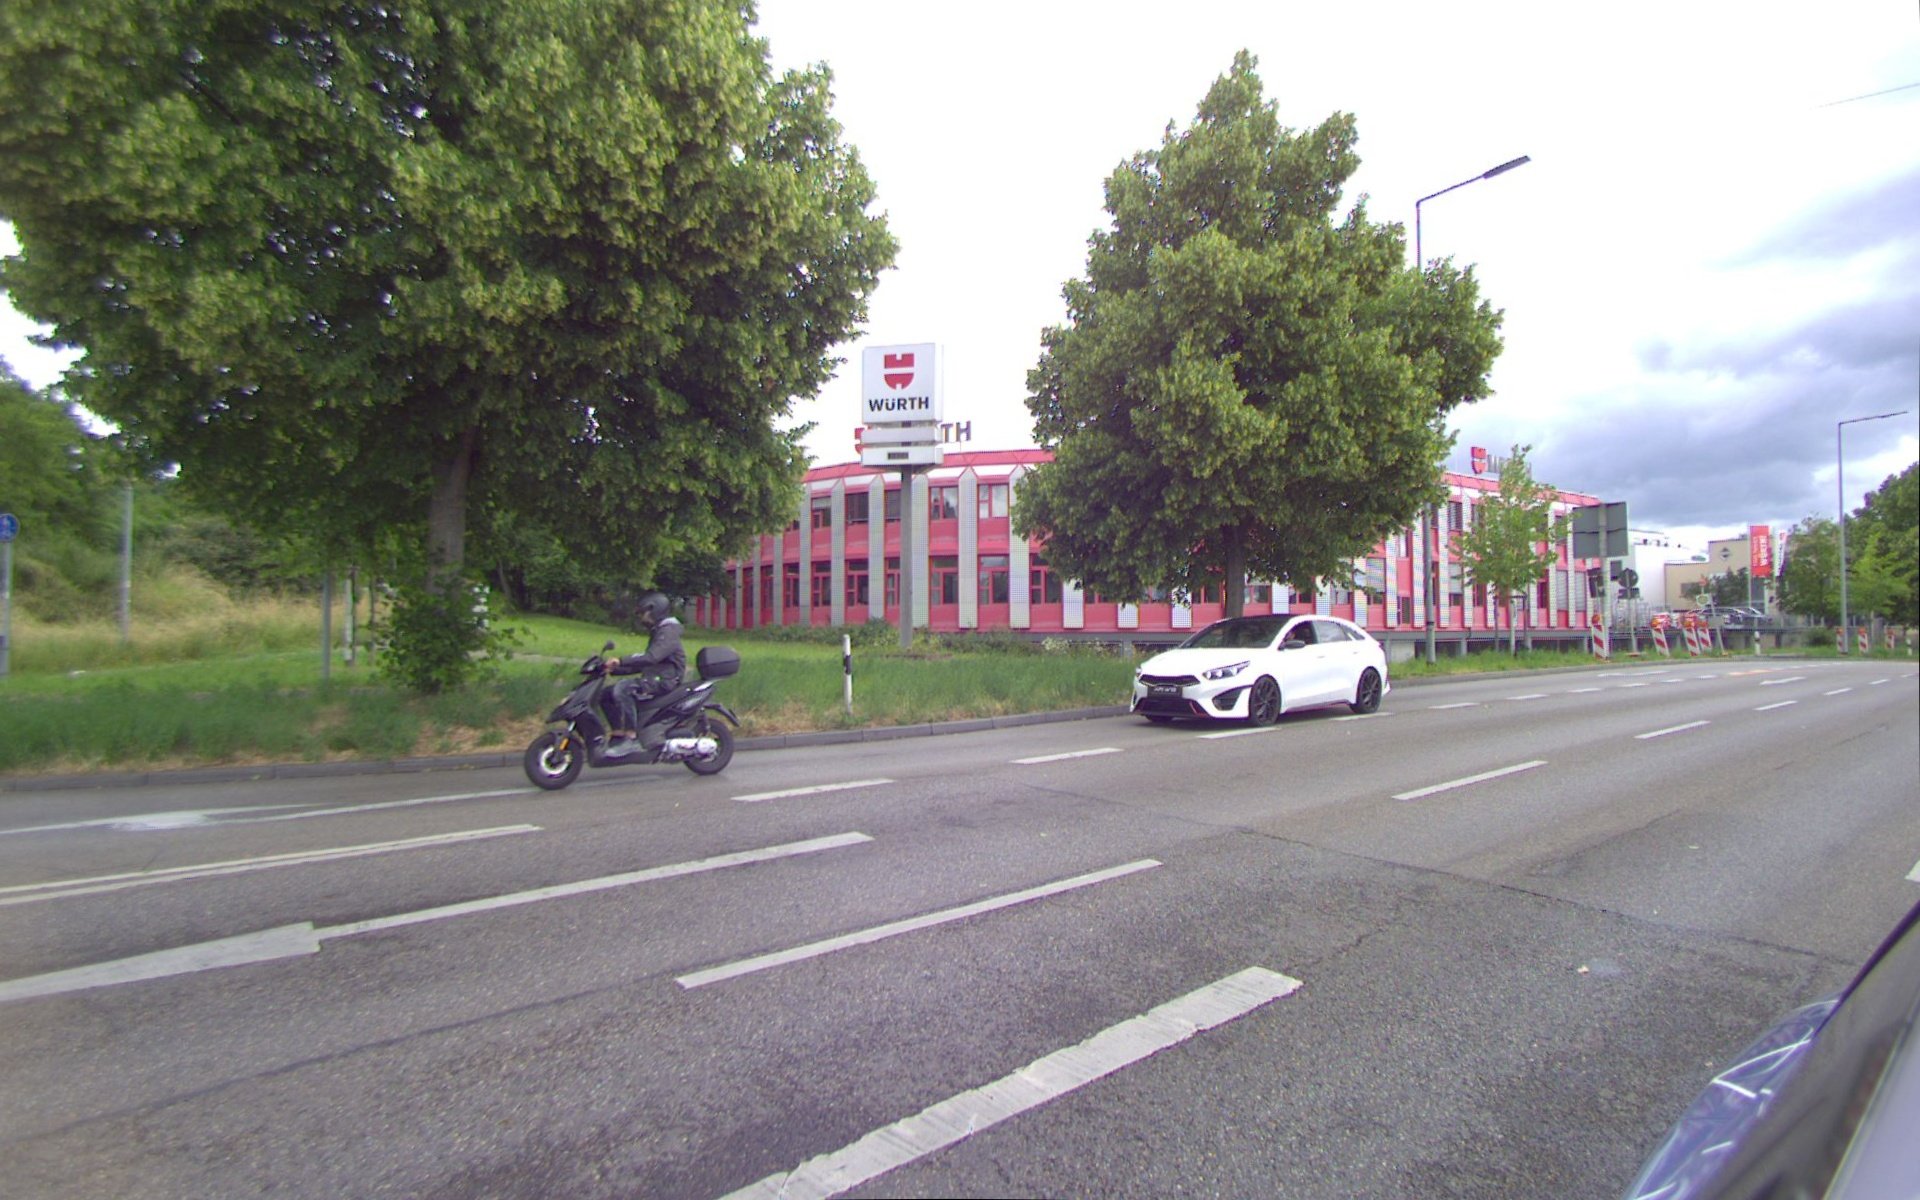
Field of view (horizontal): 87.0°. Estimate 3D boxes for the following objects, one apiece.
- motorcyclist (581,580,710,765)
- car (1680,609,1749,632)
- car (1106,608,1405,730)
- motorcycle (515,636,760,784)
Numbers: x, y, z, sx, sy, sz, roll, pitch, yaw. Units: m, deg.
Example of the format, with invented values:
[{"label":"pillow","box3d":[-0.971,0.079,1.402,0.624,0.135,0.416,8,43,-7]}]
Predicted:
[{"label":"motorcyclist","box3d":[-2.745,0.606,8.819,0.915,1.510,0.751,1,-3,-30]},{"label":"car","box3d":[61.810,1.677,82.954,1.752,1.776,4.247,0,0,-39]},{"label":"car","box3d":[4.150,0.831,13.839,4.400,1.380,1.784,0,-1,-40]},{"label":"motorcycle","box3d":[-2.781,0.894,8.789,1.904,1.162,0.750,1,-3,-31]}]
